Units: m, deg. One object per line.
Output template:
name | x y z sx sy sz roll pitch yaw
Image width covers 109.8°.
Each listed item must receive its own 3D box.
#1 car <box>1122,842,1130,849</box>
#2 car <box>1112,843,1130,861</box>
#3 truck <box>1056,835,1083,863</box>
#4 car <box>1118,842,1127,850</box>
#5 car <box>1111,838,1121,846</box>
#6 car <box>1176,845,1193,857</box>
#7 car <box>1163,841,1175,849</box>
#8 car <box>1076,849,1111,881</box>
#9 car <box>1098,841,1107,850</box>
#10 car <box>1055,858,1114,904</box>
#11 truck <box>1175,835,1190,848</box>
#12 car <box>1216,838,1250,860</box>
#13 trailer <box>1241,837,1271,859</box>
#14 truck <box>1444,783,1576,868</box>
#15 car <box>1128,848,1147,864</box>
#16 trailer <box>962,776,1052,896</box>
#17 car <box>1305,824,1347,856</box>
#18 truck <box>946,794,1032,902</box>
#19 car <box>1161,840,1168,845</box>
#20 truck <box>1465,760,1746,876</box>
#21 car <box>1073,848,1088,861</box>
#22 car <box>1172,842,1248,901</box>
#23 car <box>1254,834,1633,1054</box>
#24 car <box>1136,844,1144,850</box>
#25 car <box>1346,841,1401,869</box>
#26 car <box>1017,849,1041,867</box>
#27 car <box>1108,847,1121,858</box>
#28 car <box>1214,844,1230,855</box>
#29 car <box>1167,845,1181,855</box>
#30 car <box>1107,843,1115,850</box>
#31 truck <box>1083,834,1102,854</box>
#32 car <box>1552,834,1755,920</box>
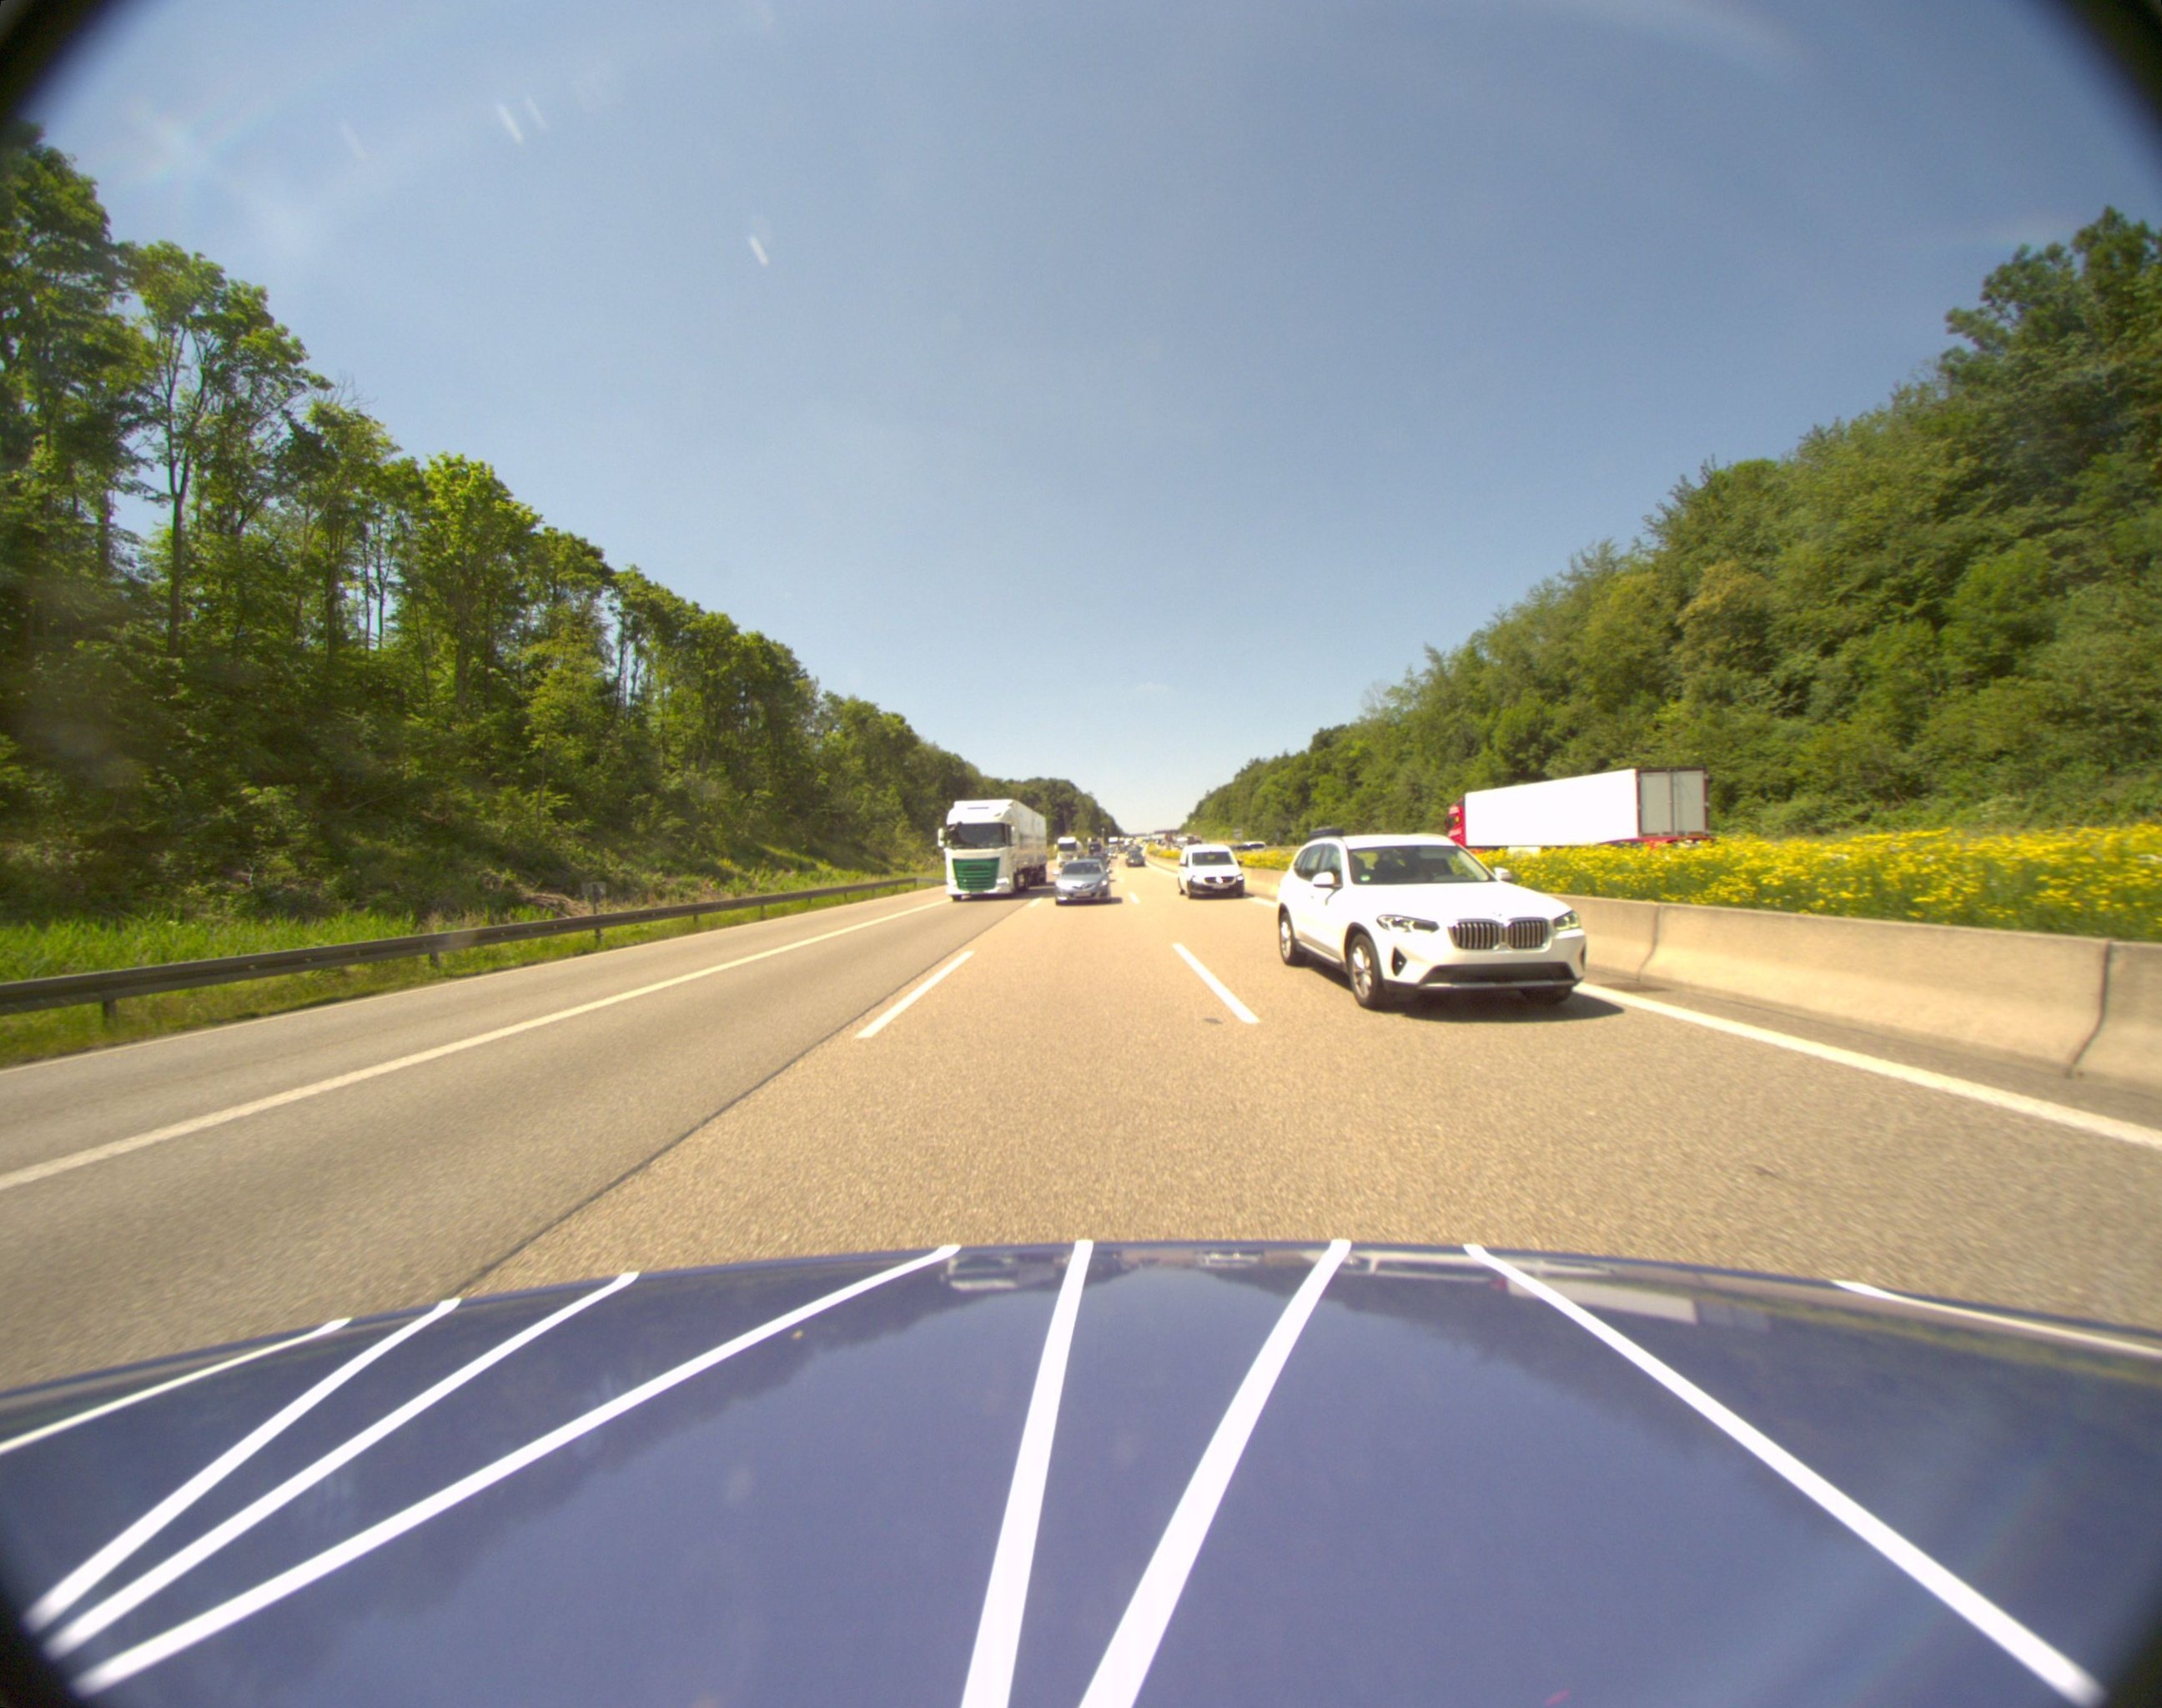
car | 12.576 -2.396 211.791 1.998 1.728 4.000 -2 1 3
car | 4.804 -0.243 91.959 1.998 2.002 3.999 -2 1 0
truck | -1.414 -0.632 96.107 3.263 3.337 6.862 -2 1 0
car | 10.221 -1.997 187.772 1.998 1.728 3.999 -2 1 1
car | 10.783 -3.661 233.494 2.697 2.467 6.584 -2 1 3
car | 15.805 -0.434 116.380 1.998 1.676 3.999 -2 1 1
car | 20.155 -1.999 174.095 2.158 1.676 4.147 -2 1 1
car | 0.777 0.642 44.989 1.887 1.695 4.085 -2 0 1
car | 5.224 -2.076 182.601 1.964 2.002 4.000 -2 0 0
car | 0.126 0.902 27.076 1.887 1.458 4.248 -2 0 0
truck | 24.861 -3.107 186.115 2.544 3.102 7.784 -2 1 1
car | 12.071 -0.404 60.534 1.922 1.658 3.999 -2 1 0
trailer | 16.933 -0.616 73.834 1.998 2.002 4.000 -2 1 1
truck | 23.232 -1.498 41.642 3.718 4.170 6.284 -2 1 2
car | 5.771 0.199 78.034 1.720 1.470 4.001 -2 0 2
trailer | -3.452 -0.841 39.896 2.574 5.011 15.271 -2 1 2
car | 19.598 -1.086 60.938 1.998 2.416 3.999 -2 1 0
truck | -3.673 -0.263 31.952 2.542 4.006 6.624 -2 1 1
car | 28.244 -3.866 257.169 2.046 1.676 4.148 -2 1 2
truck | 23.052 -1.420 35.236 3.718 4.170 13.792 -2 1 2
car | -0.052 0.061 107.335 1.924 1.652 3.826 -2 1 0
car | 4.373 0.571 26.404 1.769 1.802 4.674 -2 0 0
car | 3.469 0.733 8.555 1.869 1.684 4.956 -2 0 0
car | 15.101 -1.811 194.650 1.998 1.426 4.000 -2 0 2
car | 15.317 0.031 40.006 1.602 1.375 3.359 -2 1 1
car | -4.777 0.320 70.202 1.934 1.534 3.756 -2 0 0
car | 5.907 -0.291 134.073 1.998 1.728 3.999 -2 1 1
car | 23.686 -0.787 127.560 1.998 1.676 3.999 -2 1 1
car | 17.223 -0.788 140.520 1.998 1.676 3.999 -2 1 1
car | 7.988 -2.103 201.484 1.998 1.728 4.000 -2 1 3
truck | 2.219 -1.953 147.358 3.558 3.694 7.550 -2 1 1
car | 11.397 0.394 15.426 1.602 1.500 3.359 -2 1 1
